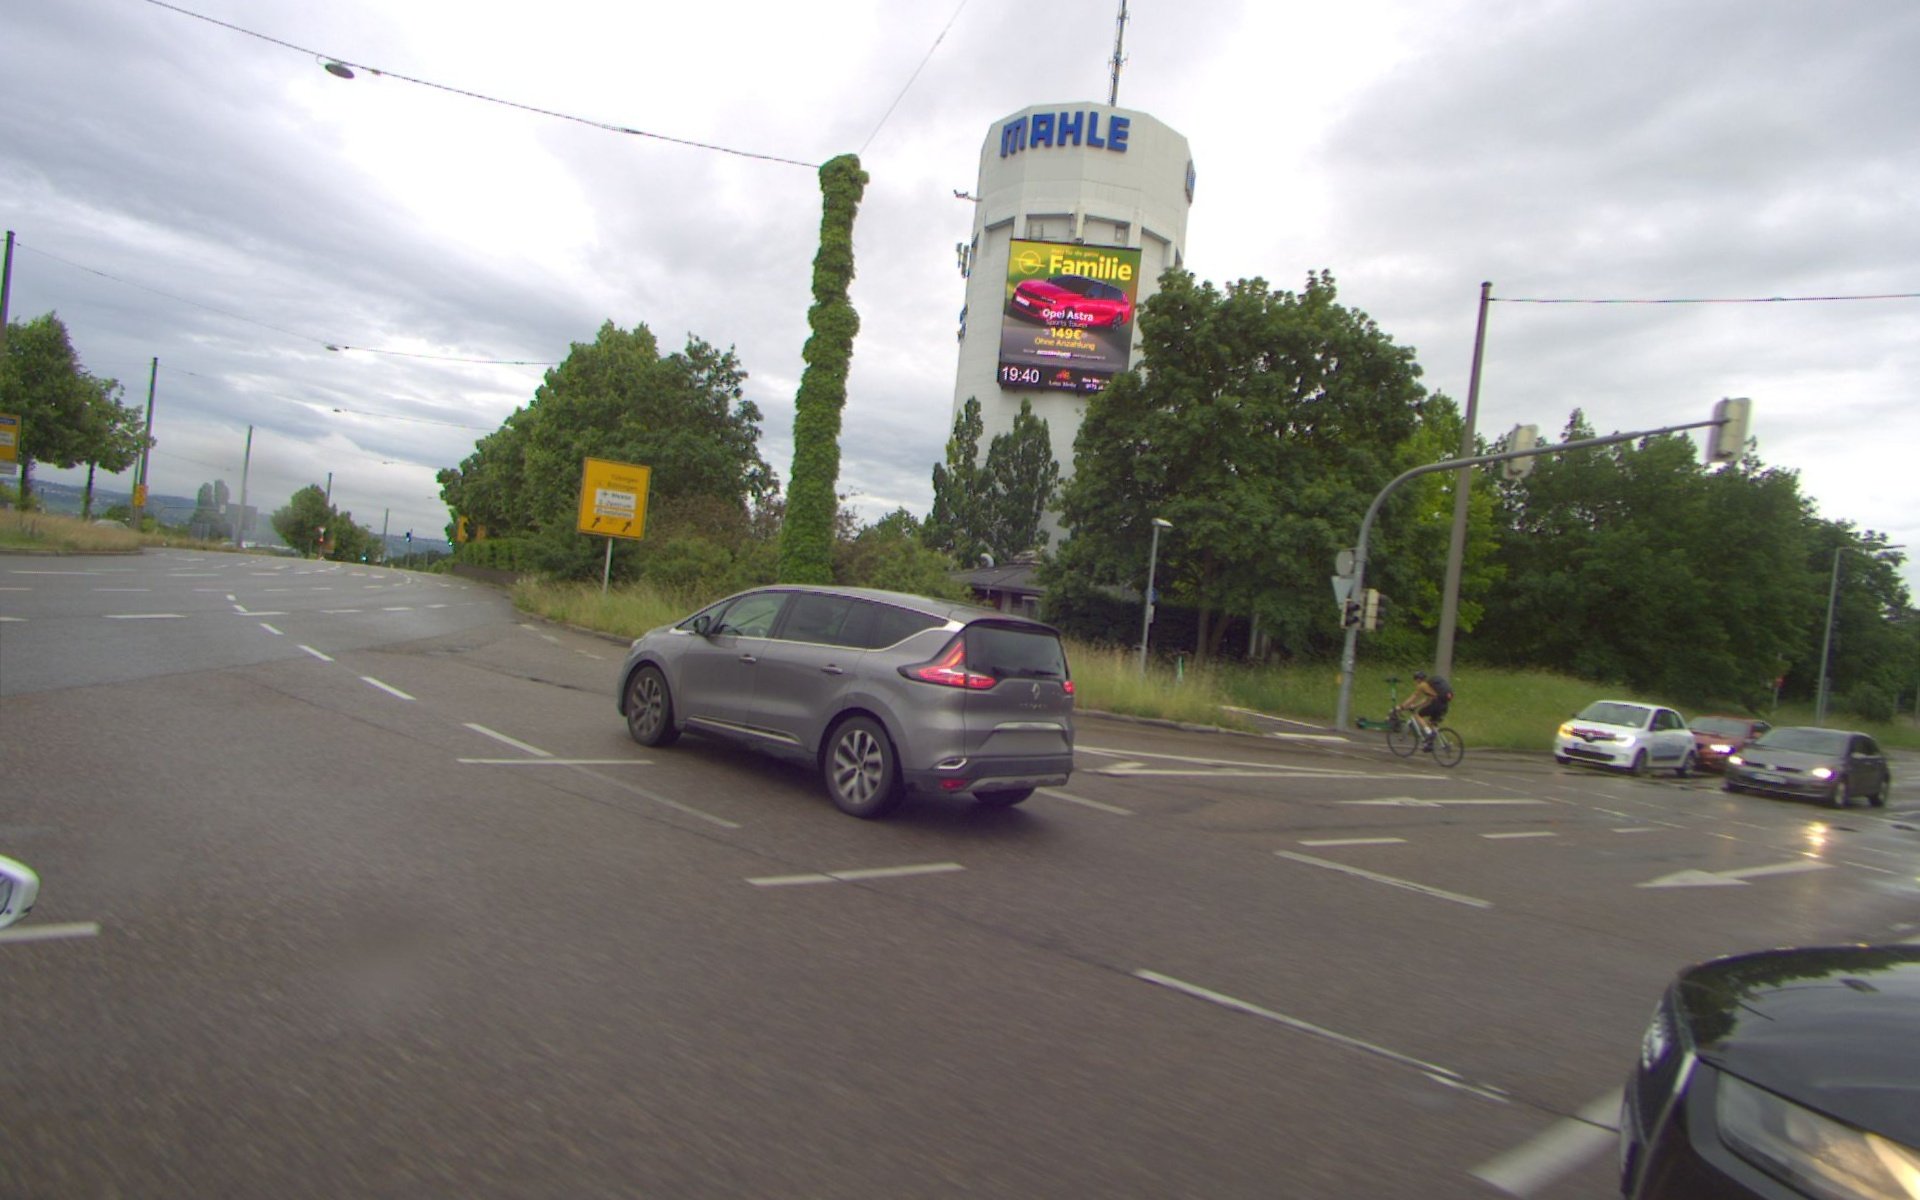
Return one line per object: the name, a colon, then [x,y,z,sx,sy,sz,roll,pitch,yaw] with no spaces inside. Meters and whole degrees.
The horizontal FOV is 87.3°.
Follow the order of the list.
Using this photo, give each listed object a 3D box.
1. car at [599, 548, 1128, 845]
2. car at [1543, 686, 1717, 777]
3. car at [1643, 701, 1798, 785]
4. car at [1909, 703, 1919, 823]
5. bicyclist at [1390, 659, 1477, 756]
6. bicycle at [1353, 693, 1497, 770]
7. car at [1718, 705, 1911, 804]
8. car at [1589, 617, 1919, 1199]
car: [-1.050,0.652,8.770,4.501,1.694,1.863,7,-1,41]
car: [15.041,2.969,22.512,4.109,1.582,1.853,8,-2,-36]
car: [19.622,3.703,25.893,4.526,1.694,1.853,8,-2,-36]
car: [19.491,2.801,17.927,5.967,2.773,2.066,8,-2,-31]
bicyclist: [8.680,1.955,18.471,0.803,1.602,1.015,8,-2,-30]
bicycle: [8.537,2.402,18.581,0.802,1.035,2.311,6,0,-29]
car: [17.088,3.096,20.064,4.340,1.537,1.715,8,-2,-34]
car: [3.306,1.117,1.333,4.047,1.615,1.886,7,-1,33]
